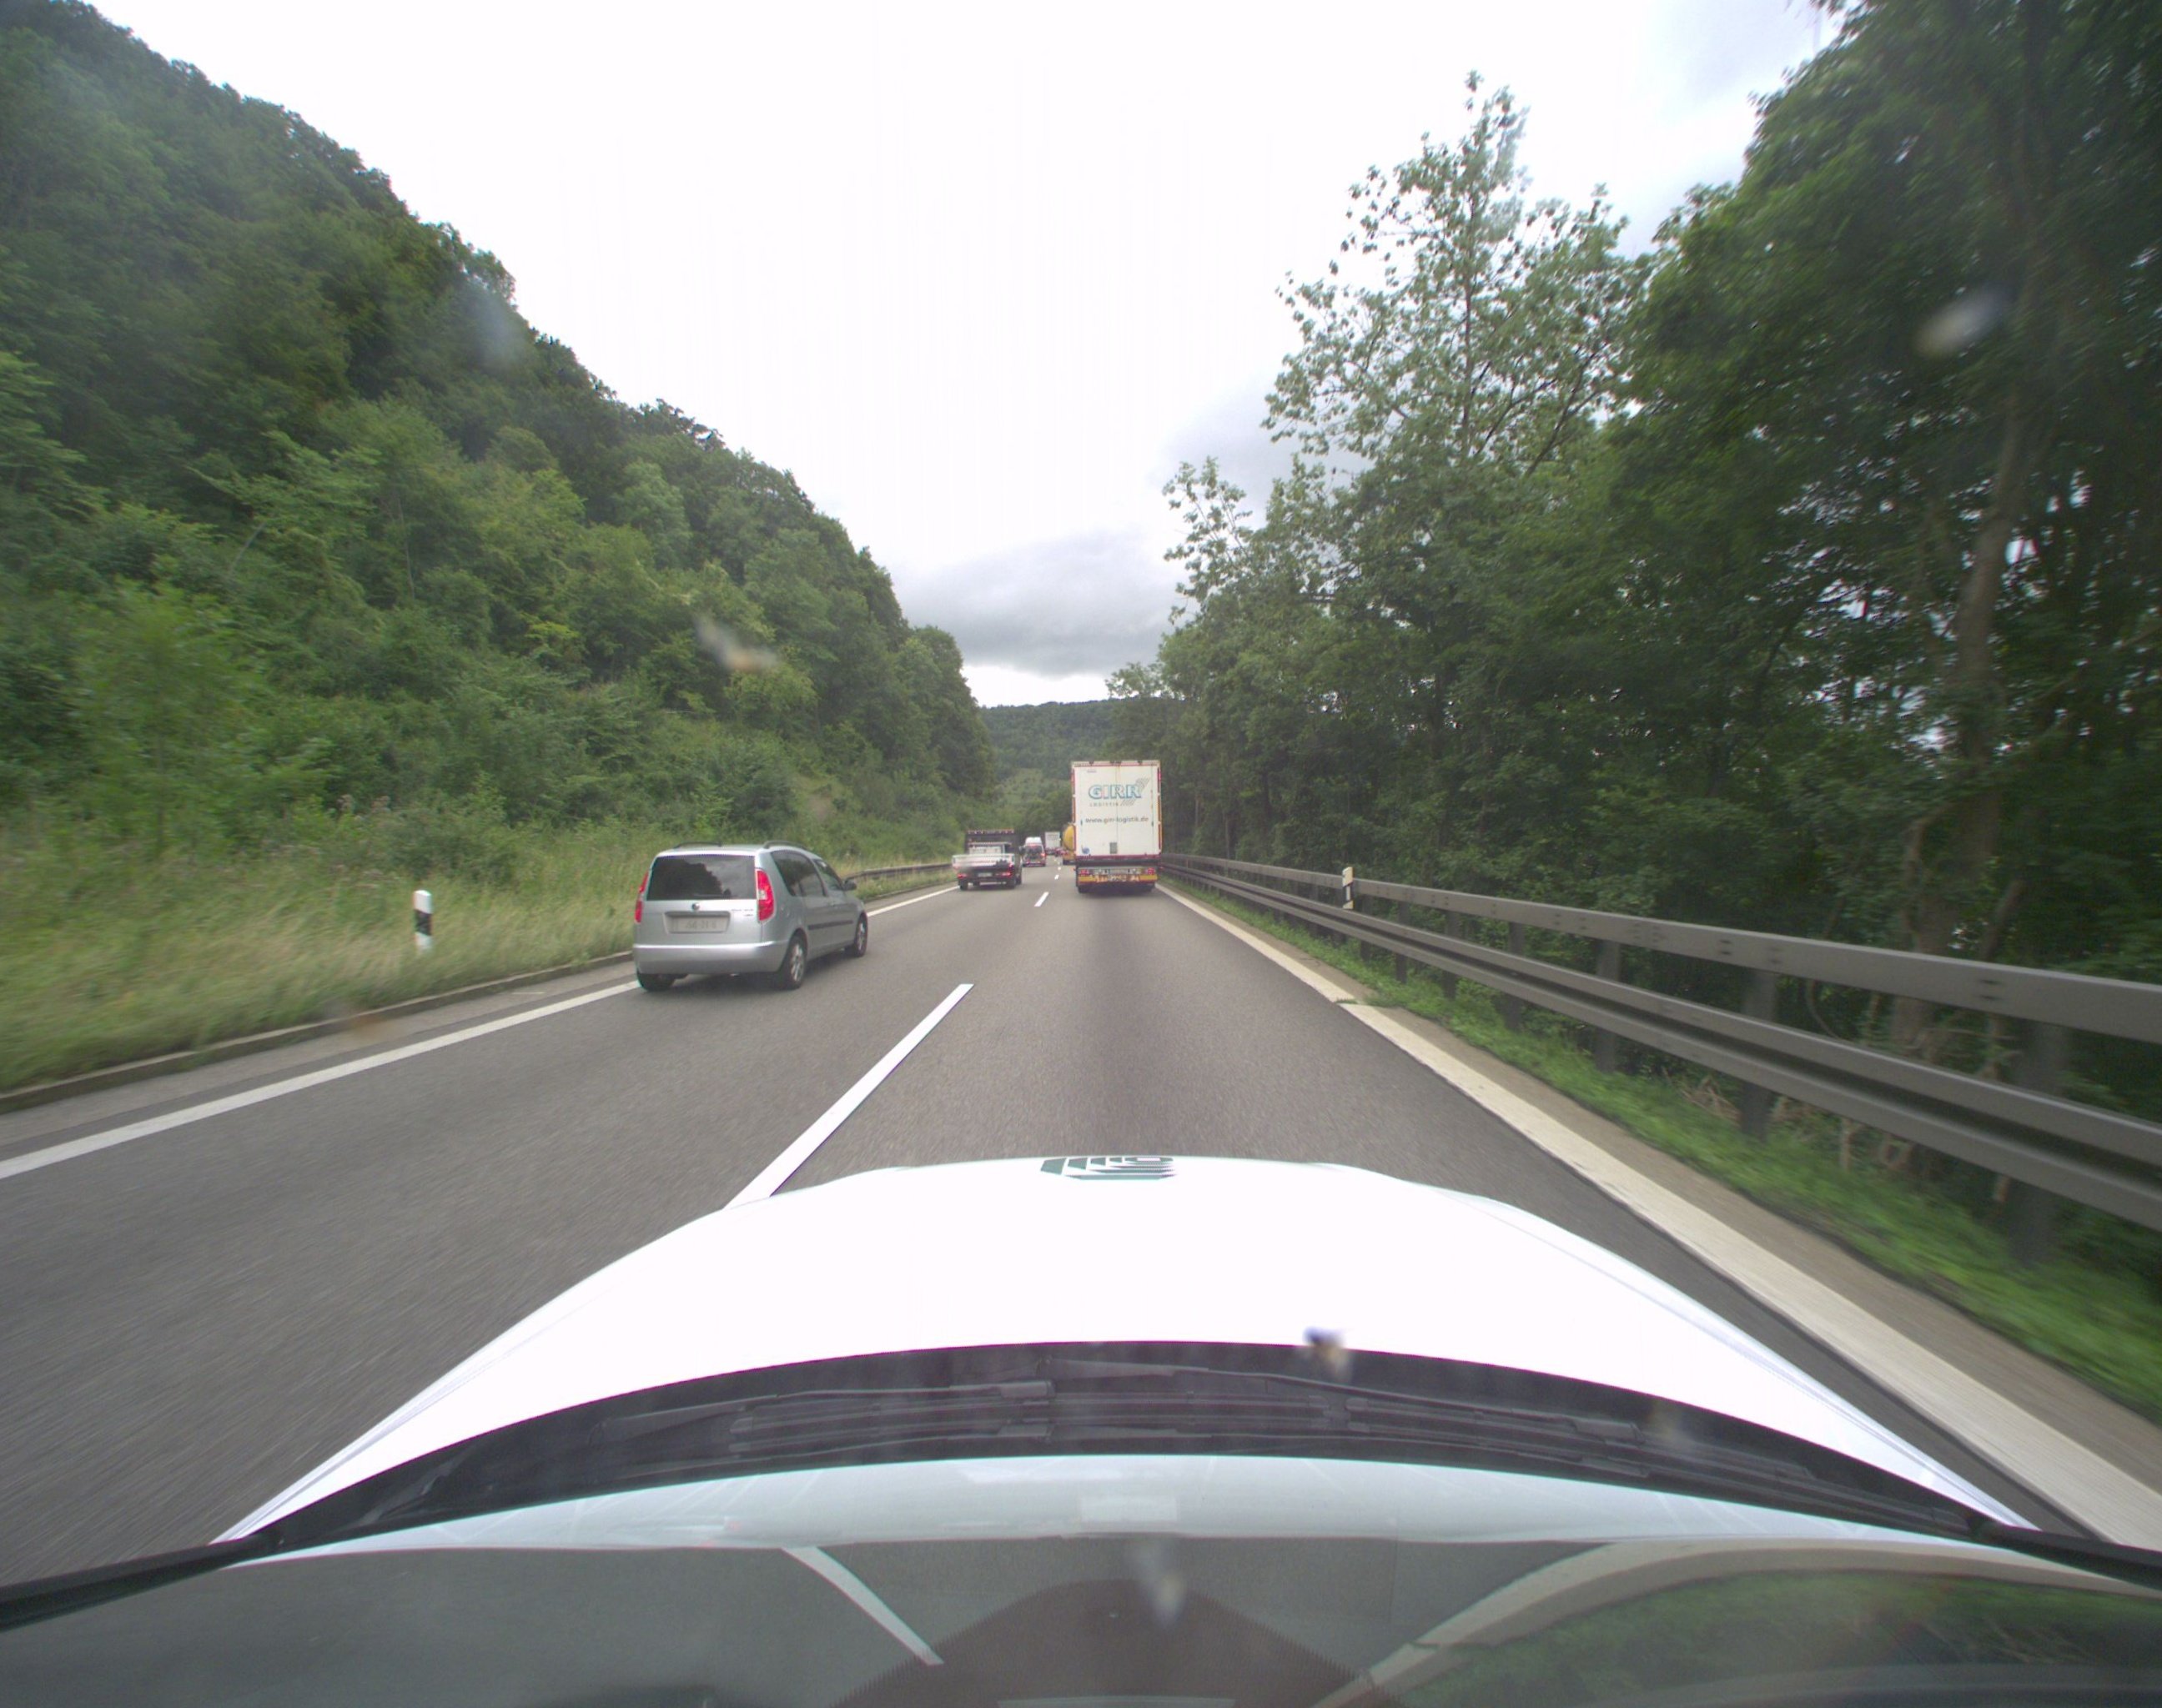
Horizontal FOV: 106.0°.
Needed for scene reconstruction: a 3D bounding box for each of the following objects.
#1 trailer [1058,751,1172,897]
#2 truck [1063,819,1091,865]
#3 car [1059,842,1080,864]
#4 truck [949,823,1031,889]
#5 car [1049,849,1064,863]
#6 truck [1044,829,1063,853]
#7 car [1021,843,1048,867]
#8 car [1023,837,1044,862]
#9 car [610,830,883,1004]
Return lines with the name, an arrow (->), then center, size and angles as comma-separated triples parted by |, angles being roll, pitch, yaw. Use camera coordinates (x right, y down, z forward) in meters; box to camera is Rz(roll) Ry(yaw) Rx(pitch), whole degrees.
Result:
trailer -> 1.027, -0.881, 27.915 | 3.122, 4.042, 9.440 | 2, 0, 1
truck -> -0.315, -1.015, 71.050 | 2.225, 3.804, 6.824 | 1, 0, 1
car -> -1.123, -0.100, 79.432 | 1.987, 2.014, 4.332 | 1, 0, 0
truck -> -3.391, 0.052, 31.928 | 2.341, 2.274, 6.849 | 1, 0, 0
car -> -3.497, 0.268, 116.911 | 1.989, 2.014, 3.994 | 1, 0, -4
truck -> -4.664, -2.178, 139.339 | 3.061, 3.877, 8.451 | 1, 0, -2
car -> -3.817, 0.052, 67.143 | 2.012, 1.914, 5.560 | 1, 0, -1
car -> -5.057, -0.509, 86.640 | 2.119, 2.598, 5.558 | 0, 0, -3
car -> -3.881, 0.625, 10.345 | 1.628, 1.726, 4.344 | -1, 0, 0
